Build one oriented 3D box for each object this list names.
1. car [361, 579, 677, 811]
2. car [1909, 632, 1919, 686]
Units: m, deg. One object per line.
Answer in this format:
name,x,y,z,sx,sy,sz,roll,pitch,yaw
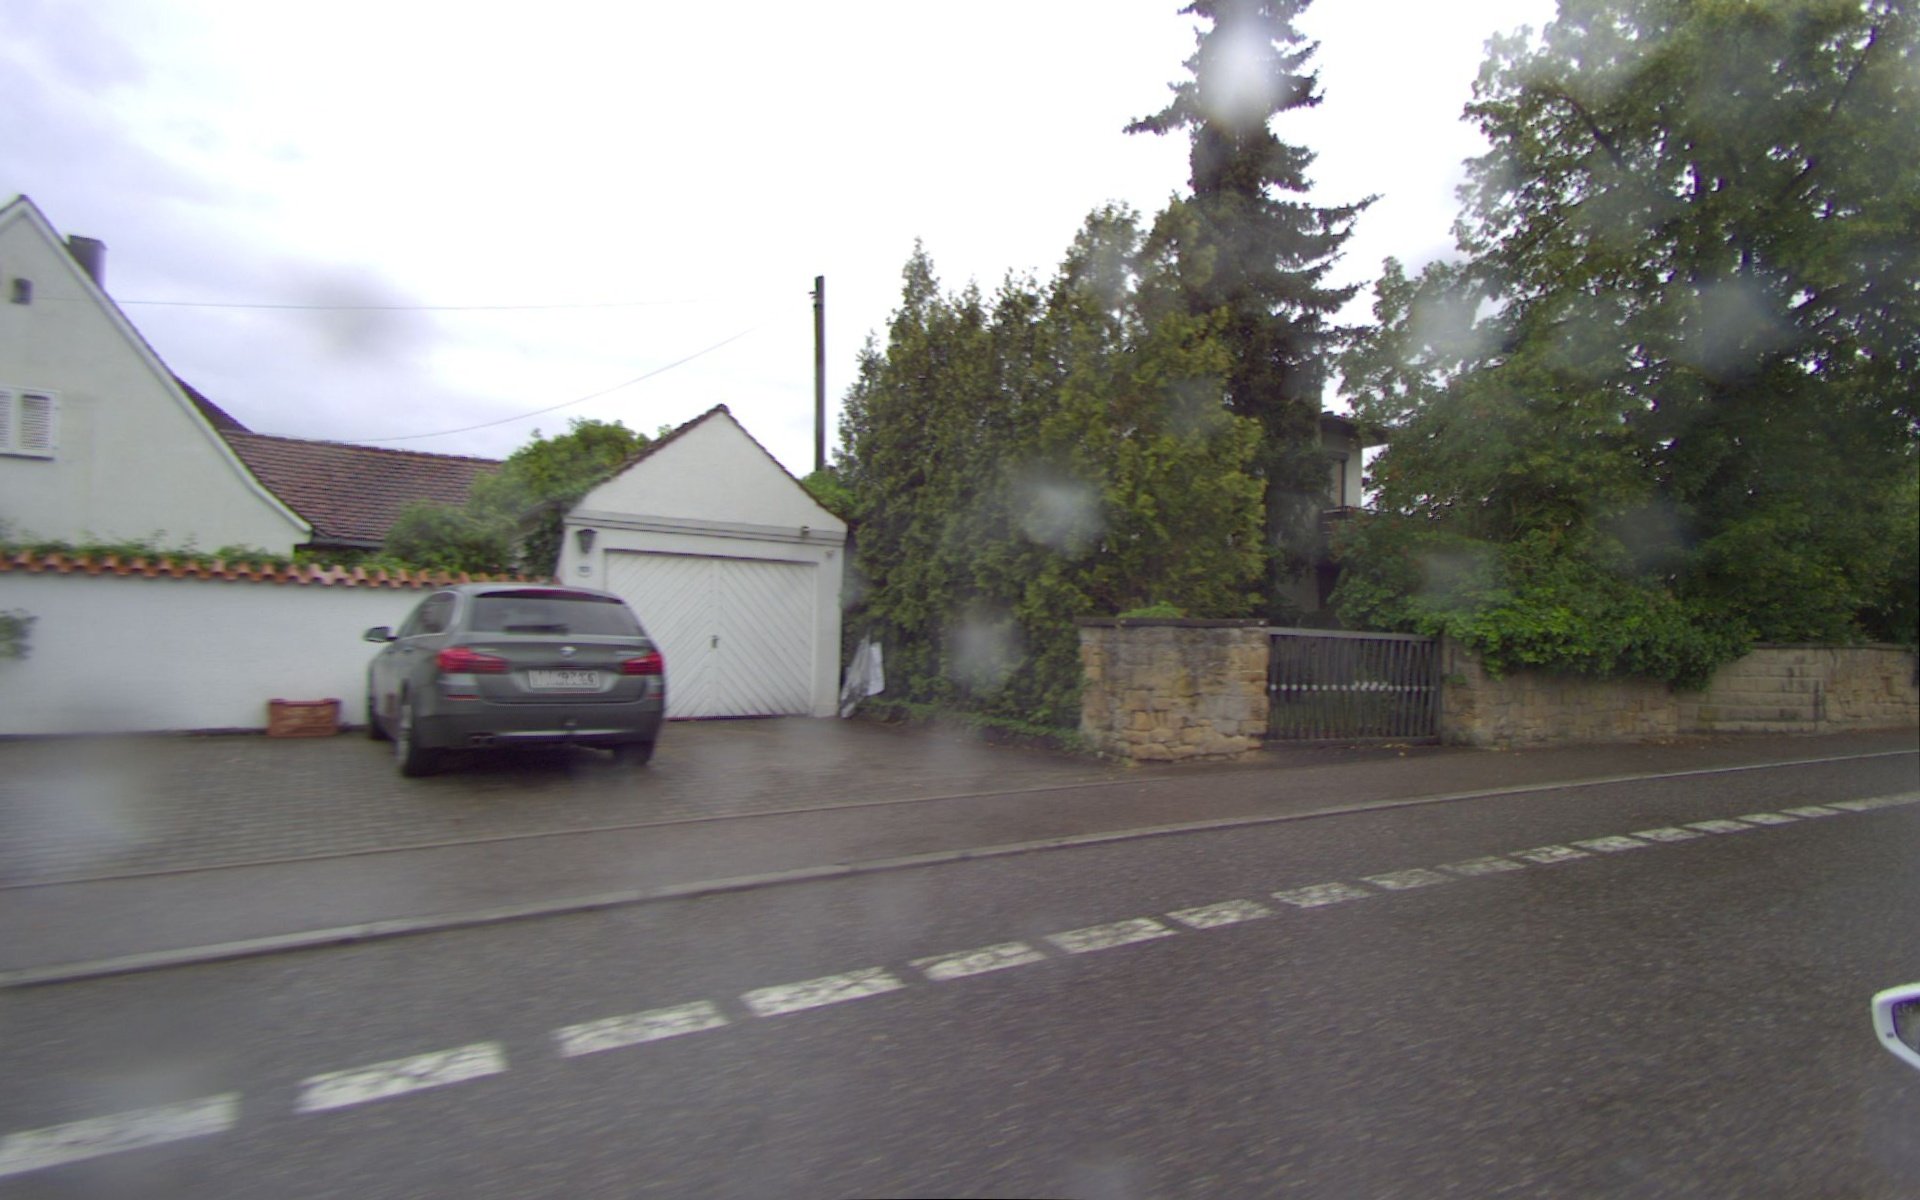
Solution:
car,-4.112,0.655,8.880,1.820,1.495,4.513,1,-1,-33
car,24.322,1.367,22.575,1.842,1.288,3.989,0,-2,-15
